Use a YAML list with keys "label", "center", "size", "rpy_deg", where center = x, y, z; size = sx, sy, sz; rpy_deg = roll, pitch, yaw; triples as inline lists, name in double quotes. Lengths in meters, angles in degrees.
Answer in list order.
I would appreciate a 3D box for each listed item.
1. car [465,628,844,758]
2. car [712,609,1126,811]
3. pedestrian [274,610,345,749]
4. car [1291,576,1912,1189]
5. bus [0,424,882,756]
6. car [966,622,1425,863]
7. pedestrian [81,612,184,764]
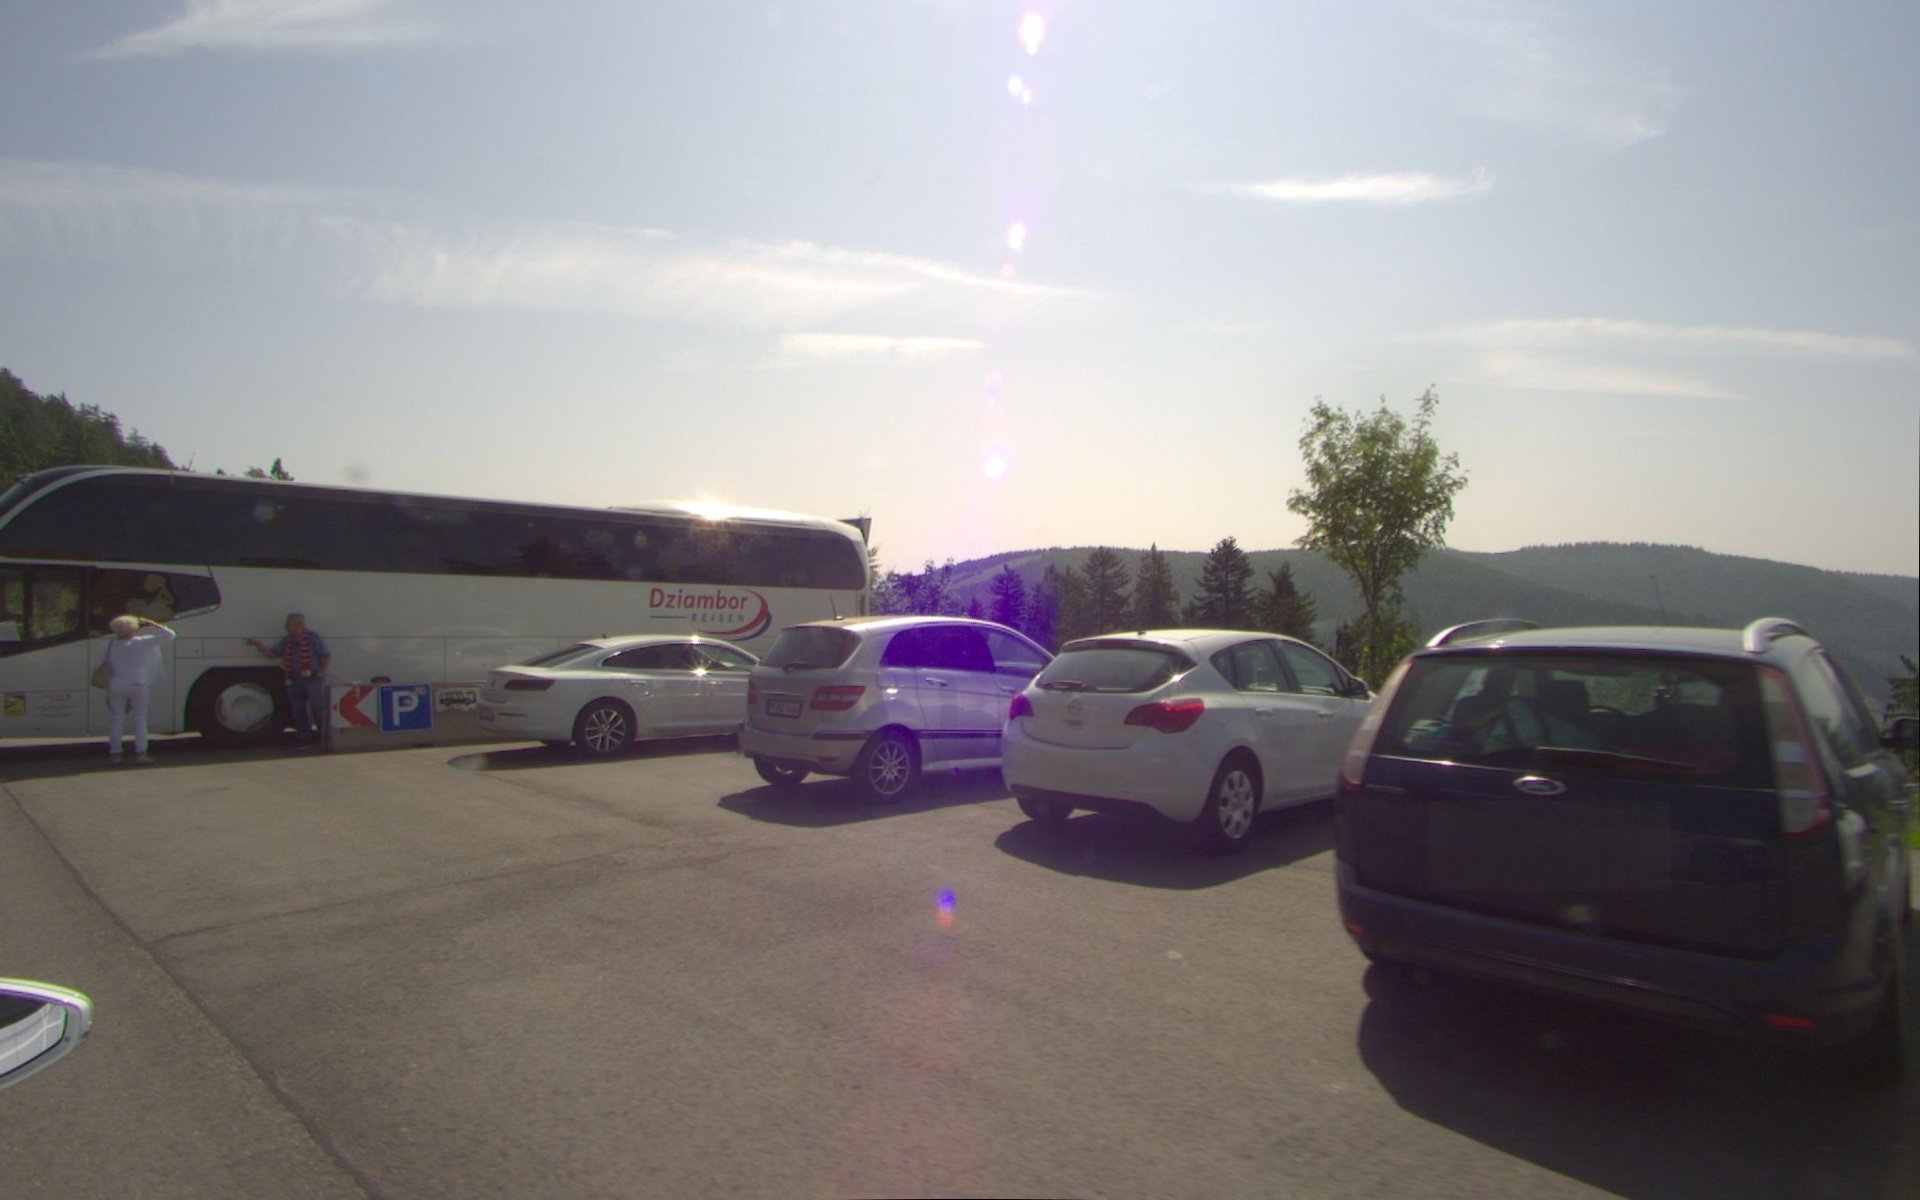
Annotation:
- label: "car"
  center: [-3.814, 1.095, 12.969]
  size: [4.390, 1.414, 1.704]
  rpy_deg: [2, -2, -40]
- label: "car"
  center: [-0.248, 0.945, 9.924]
  size: [3.963, 1.594, 1.749]
  rpy_deg: [2, -2, -45]
- label: "pedestrian"
  center: [-8.136, 0.956, 12.515]
  size: [0.639, 1.665, 0.738]
  rpy_deg: [-1, 1, -42]
- label: "car"
  center: [3.226, 0.779, 4.639]
  size: [1.654, 1.564, 4.108]
  rpy_deg: [0, -1, 43]
- label: "bus"
  center: [-7.135, 0.006, 15.900]
  size: [12.756, 3.623, 2.813]
  rpy_deg: [1, -1, -42]
- label: "car"
  center: [2.063, 0.941, 8.019]
  size: [3.963, 1.438, 1.749]
  rpy_deg: [3, -3, -45]
- label: "pedestrian"
  center: [-9.162, 0.940, 11.116]
  size: [0.635, 1.617, 0.743]
  rpy_deg: [0, 1, -17]
